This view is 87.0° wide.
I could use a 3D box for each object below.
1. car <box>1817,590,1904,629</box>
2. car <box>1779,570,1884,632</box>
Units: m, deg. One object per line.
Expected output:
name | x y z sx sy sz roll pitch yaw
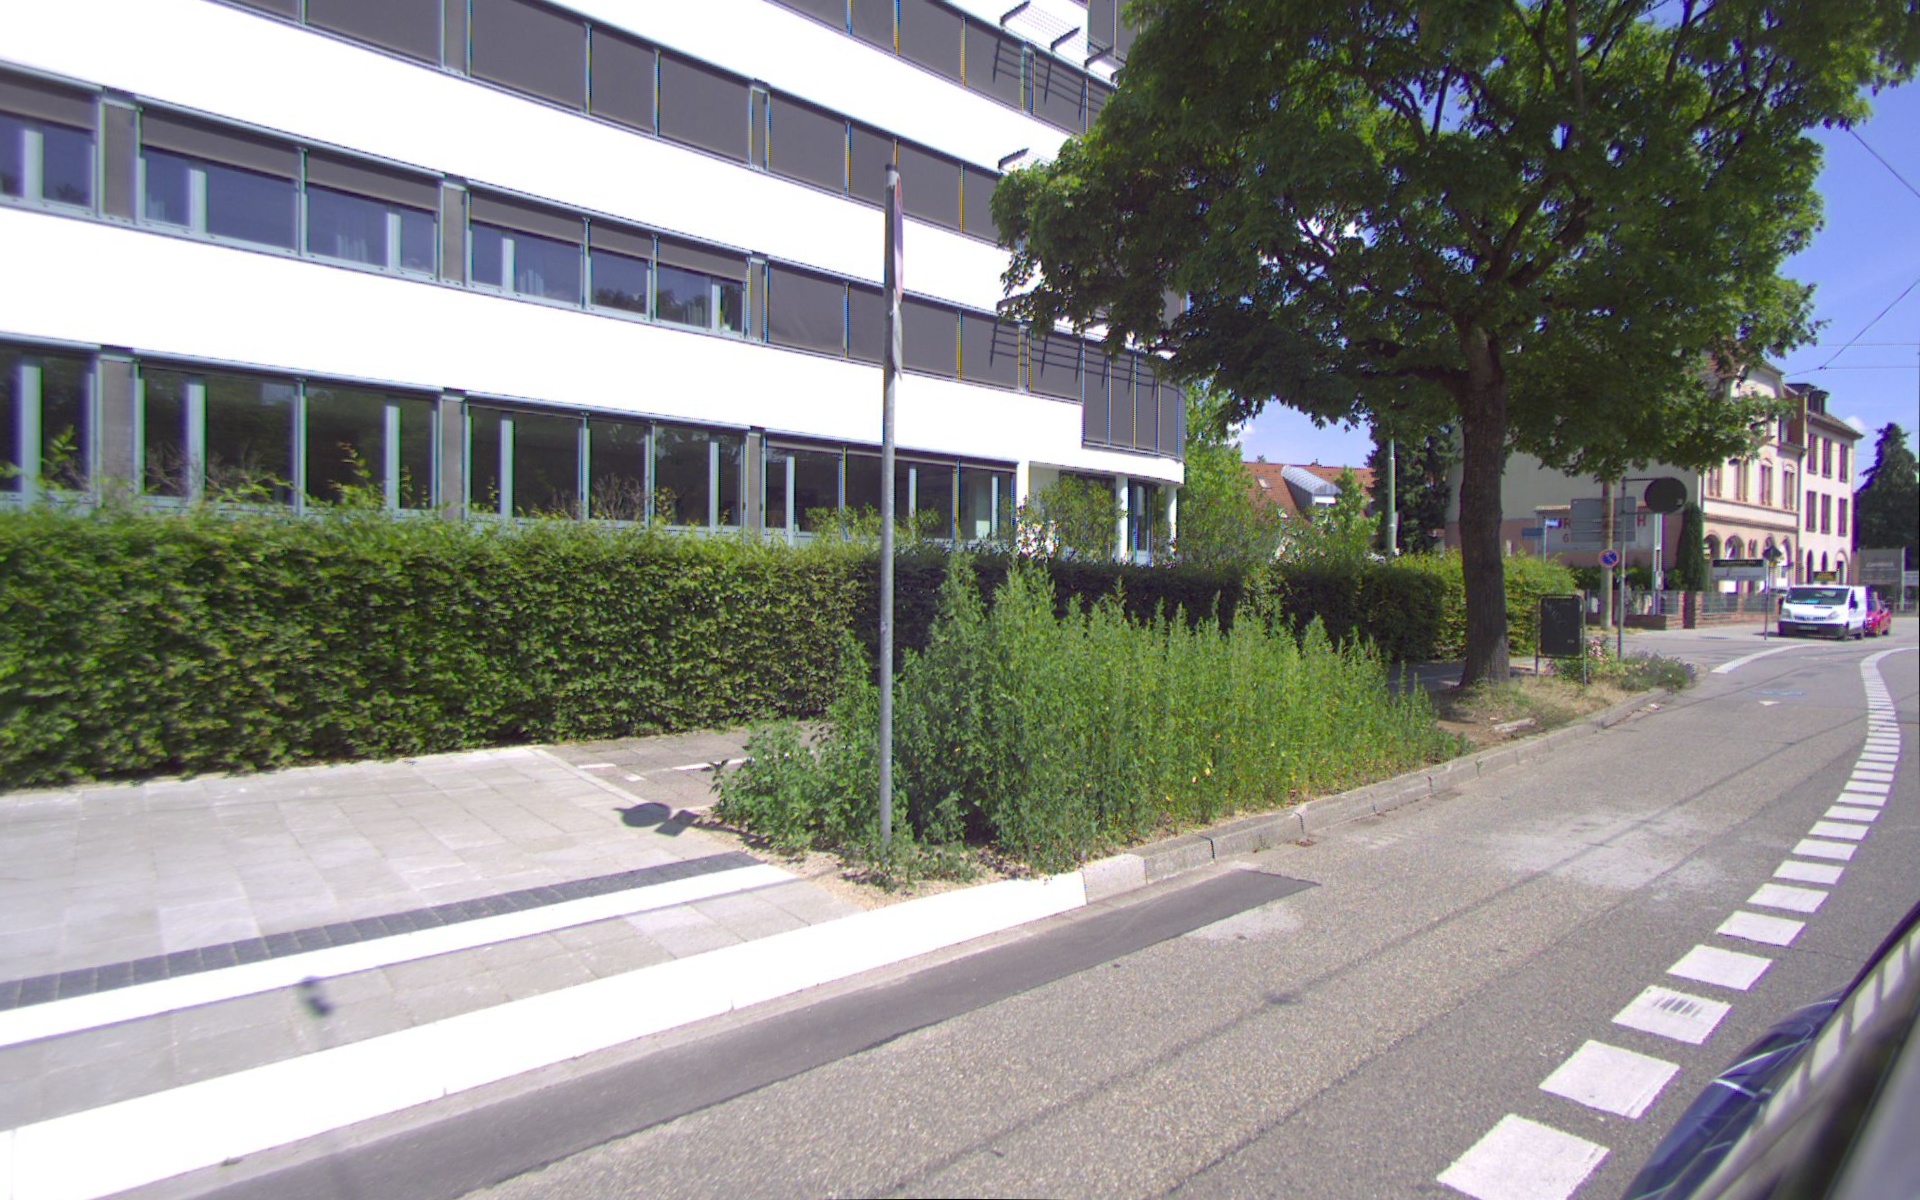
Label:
car | 35.819 0.361 40.225 3.945 1.460 1.998 0 0 -39
car | 31.374 0.006 36.373 5.417 2.016 1.998 0 3 -40
